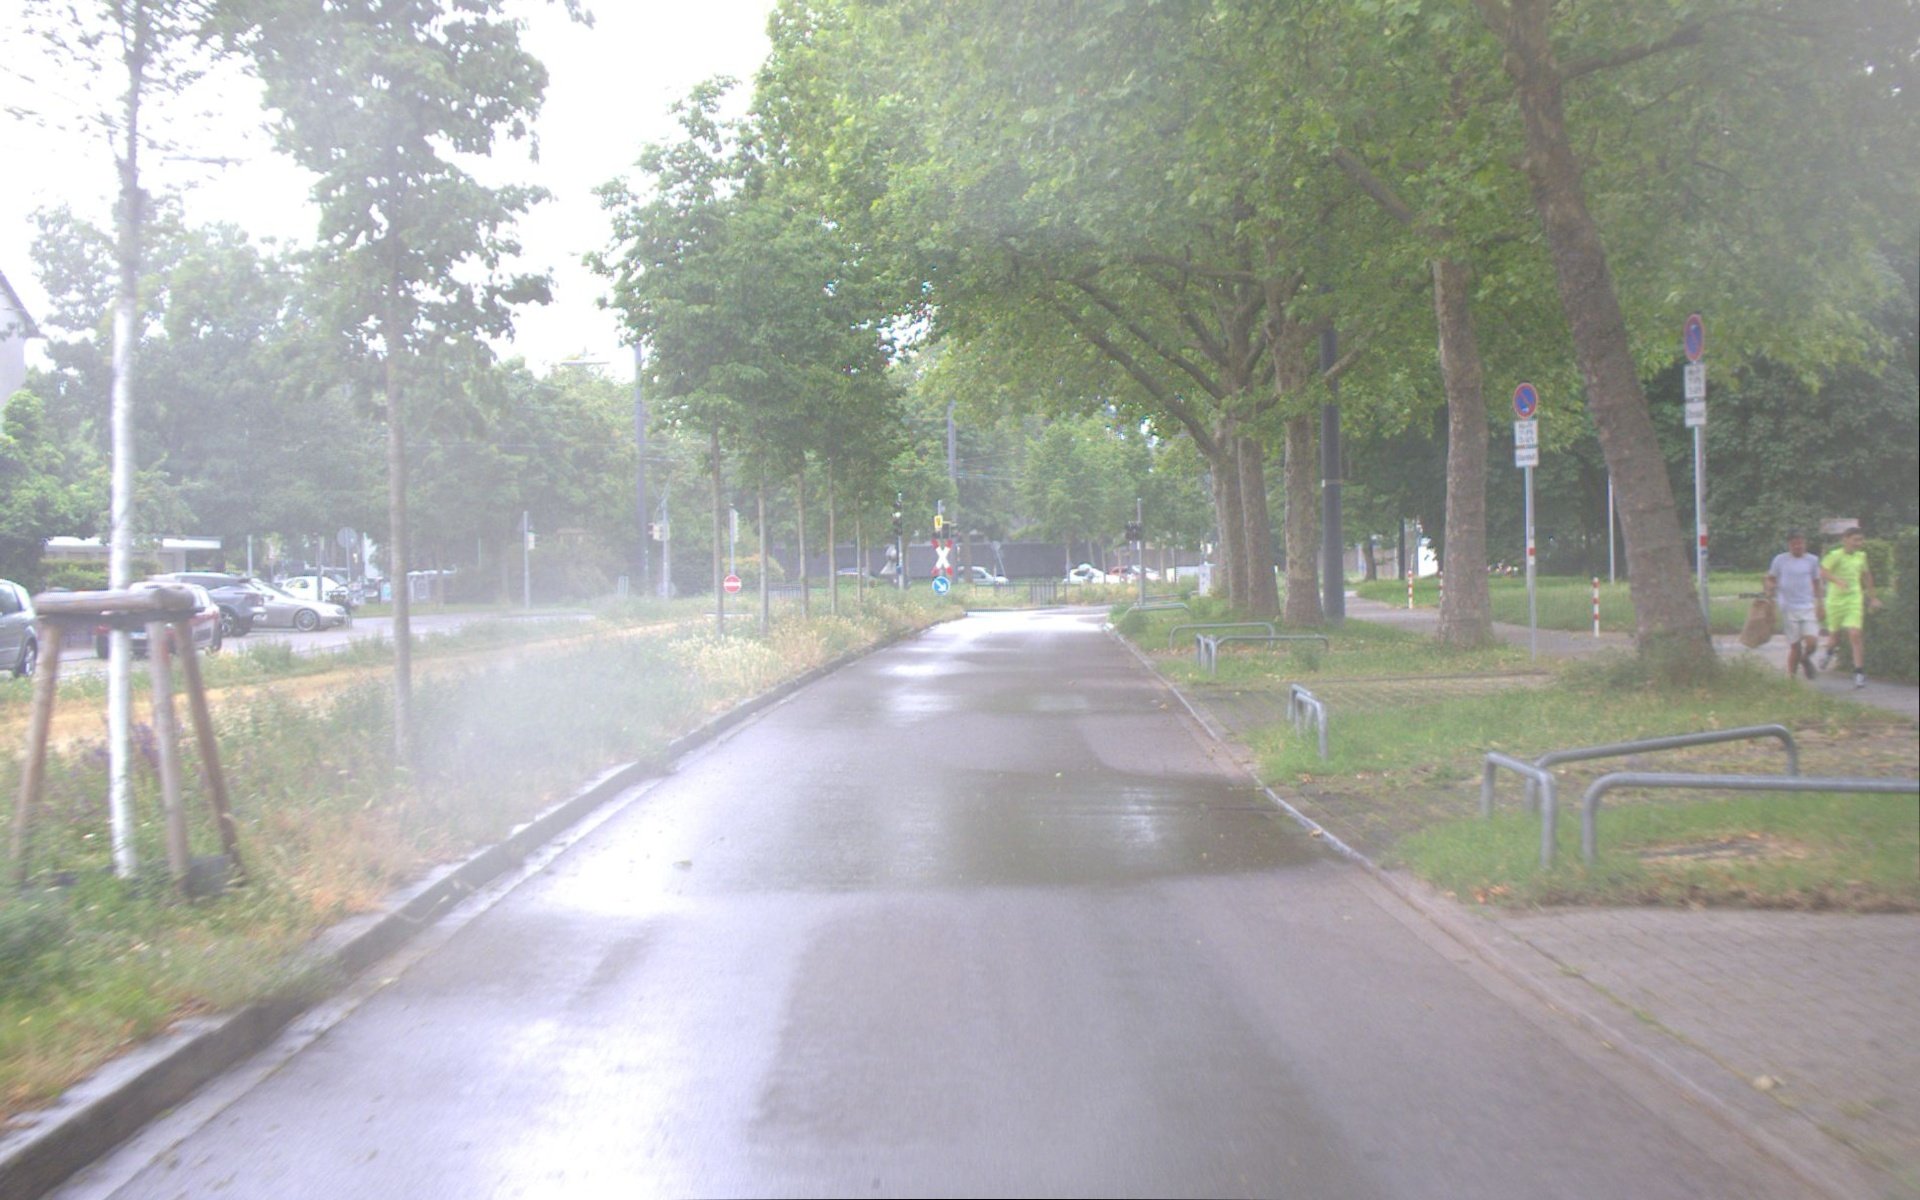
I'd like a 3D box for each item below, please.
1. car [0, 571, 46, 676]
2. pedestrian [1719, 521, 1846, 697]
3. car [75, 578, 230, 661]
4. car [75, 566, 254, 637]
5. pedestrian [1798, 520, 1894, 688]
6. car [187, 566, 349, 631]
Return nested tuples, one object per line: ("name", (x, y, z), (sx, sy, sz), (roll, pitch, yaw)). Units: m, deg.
("car", (-15.774, 0.363, 53.268), (1.993, 1.575, 4.517), (0, 1, 0))
("pedestrian", (7.419, 0.072, 31.044), (0.833, 1.533, 0.860), (-2, 1, -4))
("car", (-15.699, 0.352, 67.019), (1.993, 1.483, 4.205), (0, 1, 0))
("car", (-19.834, 0.030, 85.827), (3.987, 1.611, 2.000), (-2, 1, -1))
("pedestrian", (8.302, 0.031, 32.249), (0.556, 1.533, 0.967), (-2, 1, -4))
("car", (-18.915, -0.042, 94.087), (3.987, 1.611, 2.000), (-2, 1, -1))
